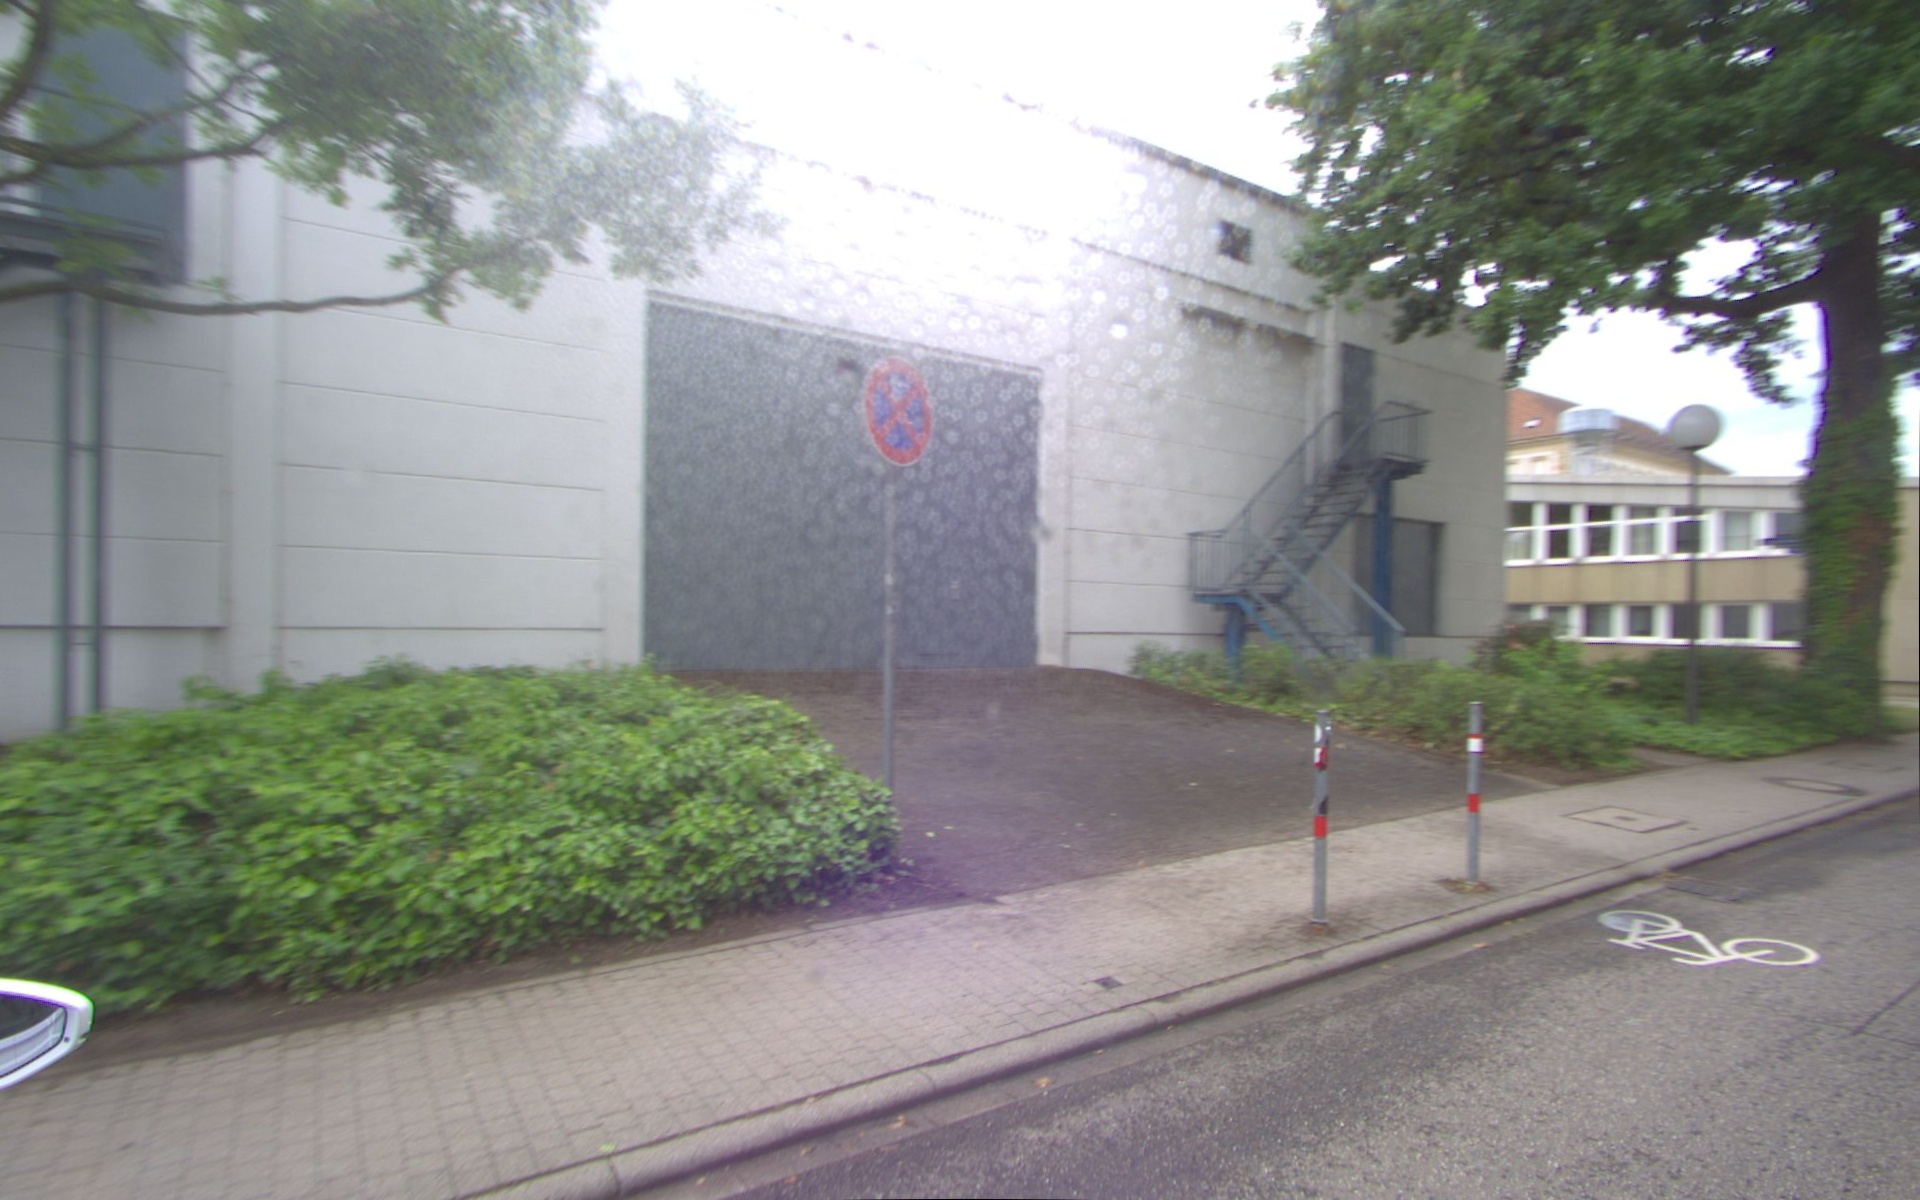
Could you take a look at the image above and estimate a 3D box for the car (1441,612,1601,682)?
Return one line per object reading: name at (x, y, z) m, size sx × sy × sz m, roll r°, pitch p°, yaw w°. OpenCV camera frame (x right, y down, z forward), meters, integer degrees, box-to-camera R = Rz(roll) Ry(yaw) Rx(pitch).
car at (13.700, 1.110, 24.408) m, size 3.949 × 1.550 × 1.856 m, roll 1°, pitch 0°, yaw -35°
